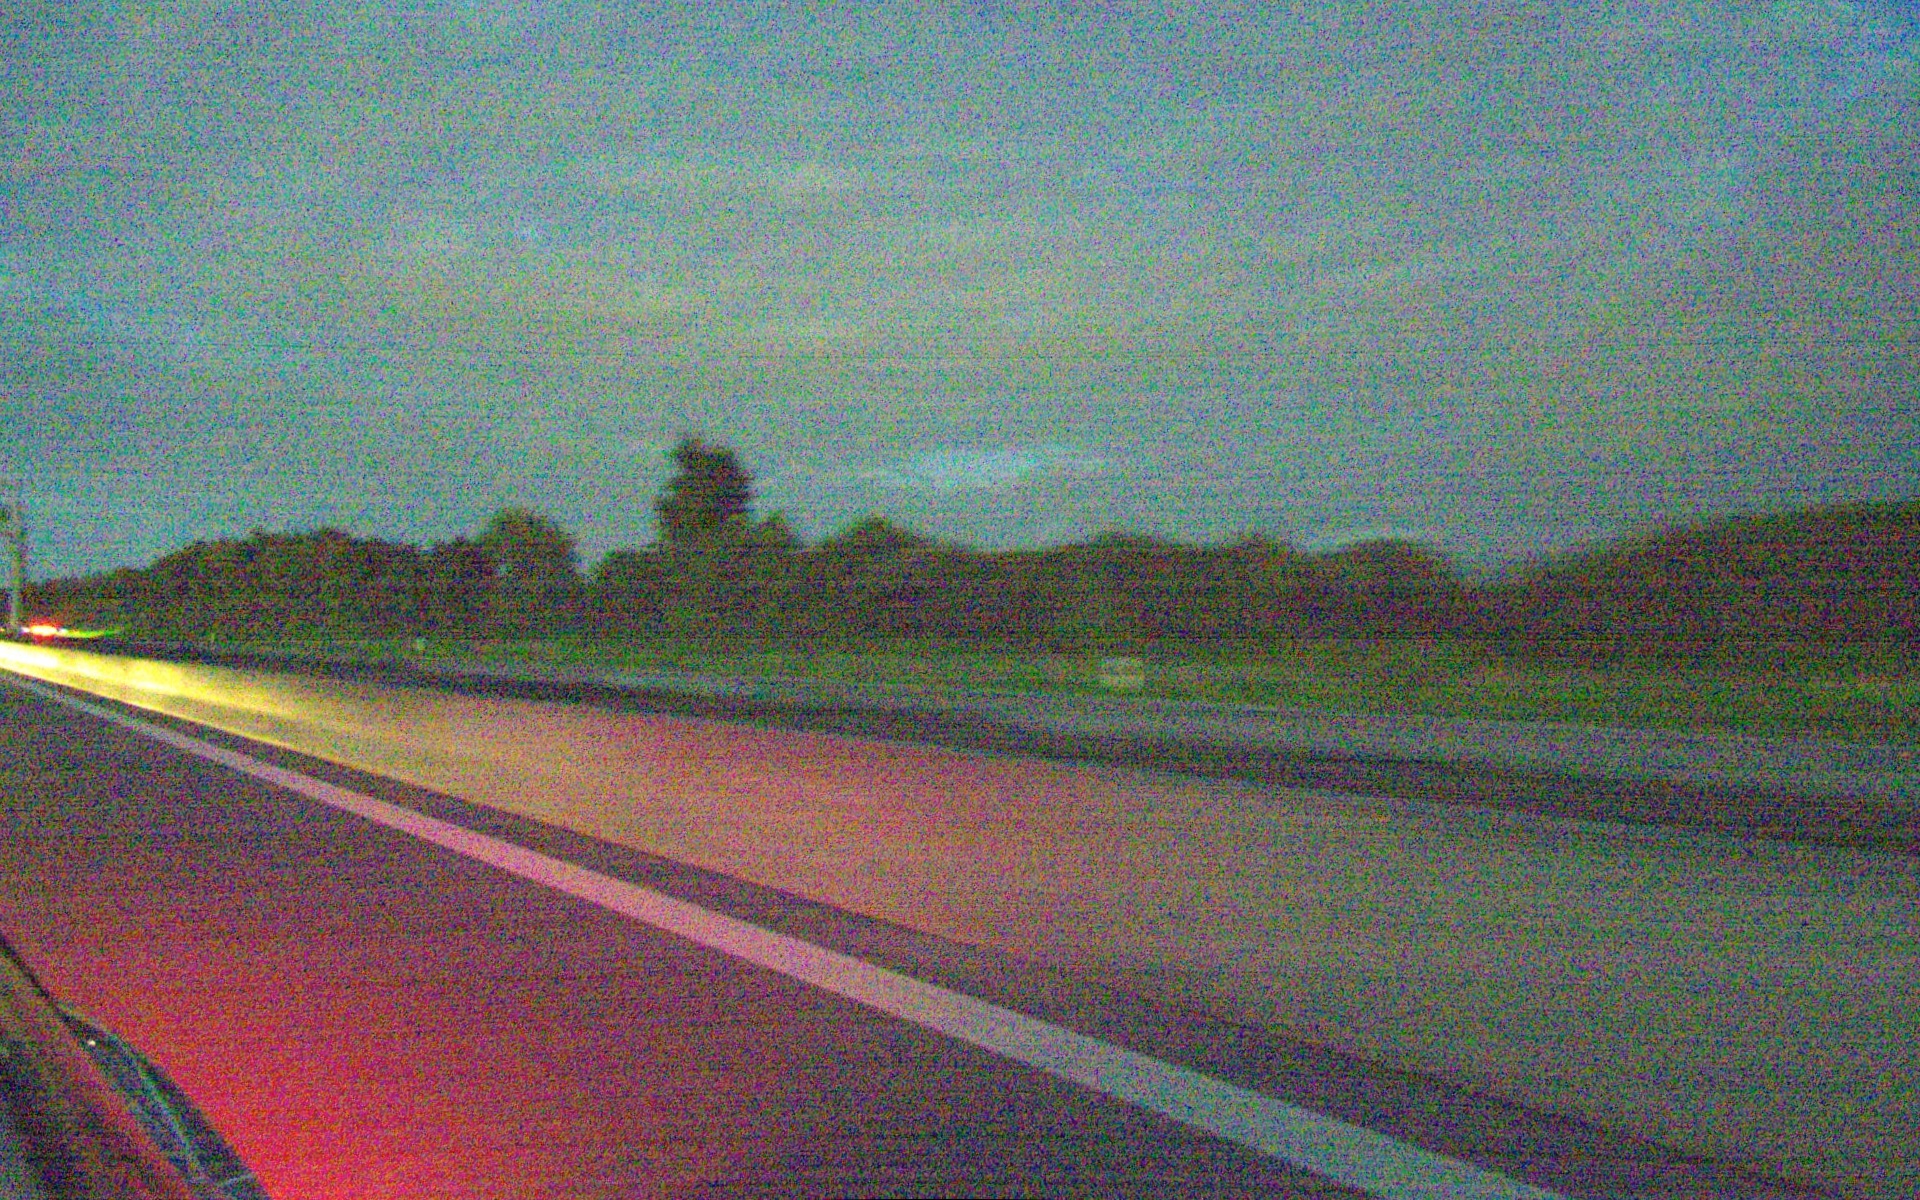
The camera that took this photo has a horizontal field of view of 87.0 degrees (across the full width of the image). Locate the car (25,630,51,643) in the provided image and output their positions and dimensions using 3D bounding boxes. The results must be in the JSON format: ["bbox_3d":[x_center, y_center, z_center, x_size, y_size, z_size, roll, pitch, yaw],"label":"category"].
[{"bbox_3d":[-116.717,4.614,128.081,5.184,1.549,1.942,-2,-3,43],"label":"car"}]

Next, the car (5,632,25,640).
[{"bbox_3d":[-143.293,5.447,153.456,4.349,1.292,1.883,-2,-3,43],"label":"car"}]
